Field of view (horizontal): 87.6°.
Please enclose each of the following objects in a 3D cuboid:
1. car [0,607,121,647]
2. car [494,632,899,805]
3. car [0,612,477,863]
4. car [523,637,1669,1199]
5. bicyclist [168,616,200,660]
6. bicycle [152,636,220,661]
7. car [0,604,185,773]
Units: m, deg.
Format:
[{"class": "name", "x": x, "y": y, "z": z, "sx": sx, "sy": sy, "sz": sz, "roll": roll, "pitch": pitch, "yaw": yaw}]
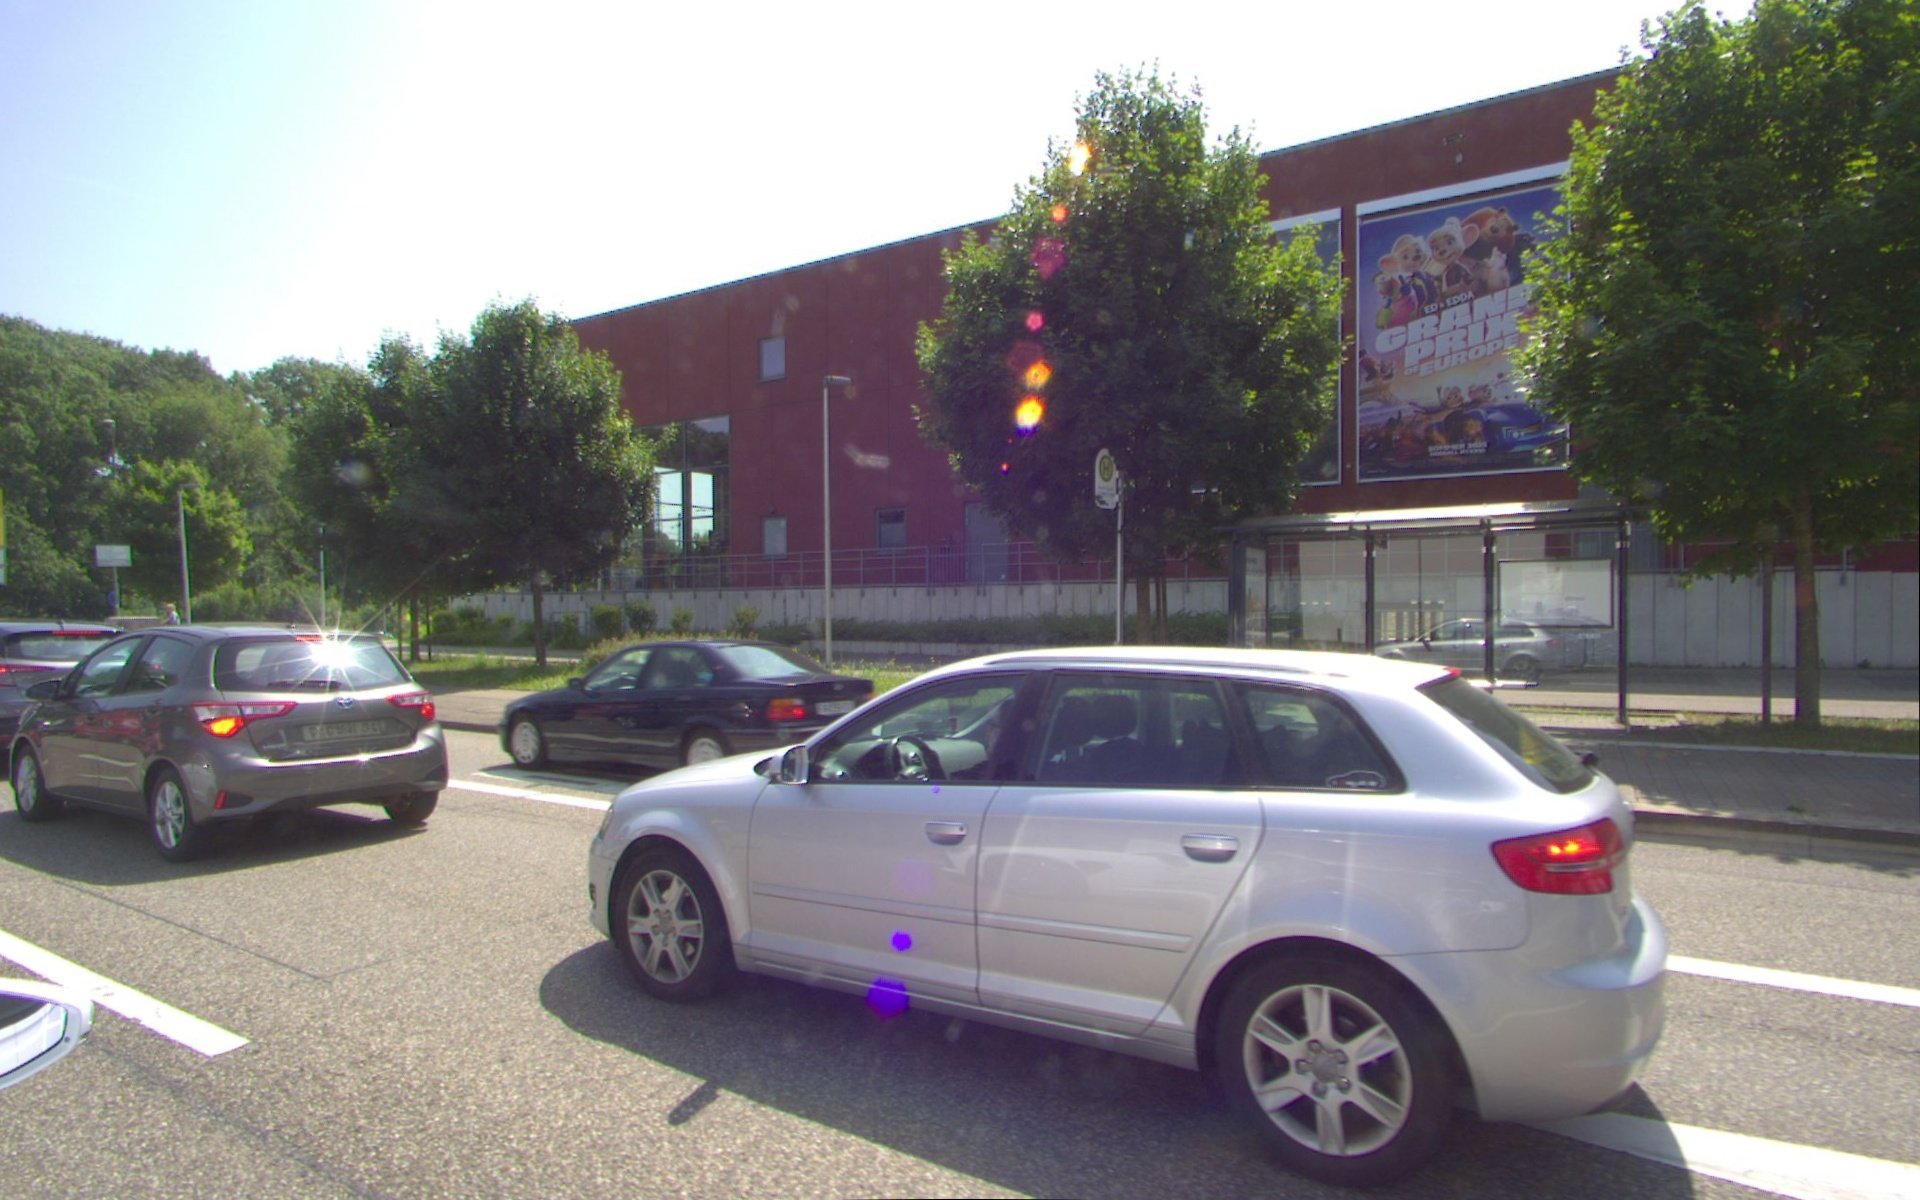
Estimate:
[{"class": "car", "x": -41.368, "y": 1.206, "z": 46.100, "sx": 1.857, "sy": 1.712, "sz": 3.967, "roll": 0, "pitch": 0, "yaw": 41}, {"class": "car", "x": -2.745, "y": 1.050, "z": 10.132, "sx": 4.086, "sy": 1.388, "sz": 1.635, "roll": 0, "pitch": -2, "yaw": 33}, {"class": "car", "x": -5.790, "y": 0.892, "z": 7.765, "sx": 4.031, "sy": 1.496, "sz": 1.711, "roll": -1, "pitch": -3, "yaw": 31}, {"class": "car", "x": 0.287, "y": 0.863, "z": 4.022, "sx": 4.031, "sy": 1.379, "sz": 1.710, "roll": -1, "pitch": -2, "yaw": 31}, {"class": "bicyclist", "x": -26.422, "y": 1.287, "z": 34.105, "sx": 0.819, "sy": 1.458, "sz": 0.595, "roll": -1, "pitch": 1, "yaw": -37}, {"class": "bicycle", "x": -26.375, "y": 1.639, "z": 34.146, "sx": 1.805, "sy": 0.776, "sz": 0.596, "roll": -1, "pitch": 1, "yaw": -38}, {"class": "car", "x": -10.576, "y": 0.872, "z": 11.171, "sx": 4.031, "sy": 1.614, "sz": 1.709, "roll": -1, "pitch": -1, "yaw": 31}]
